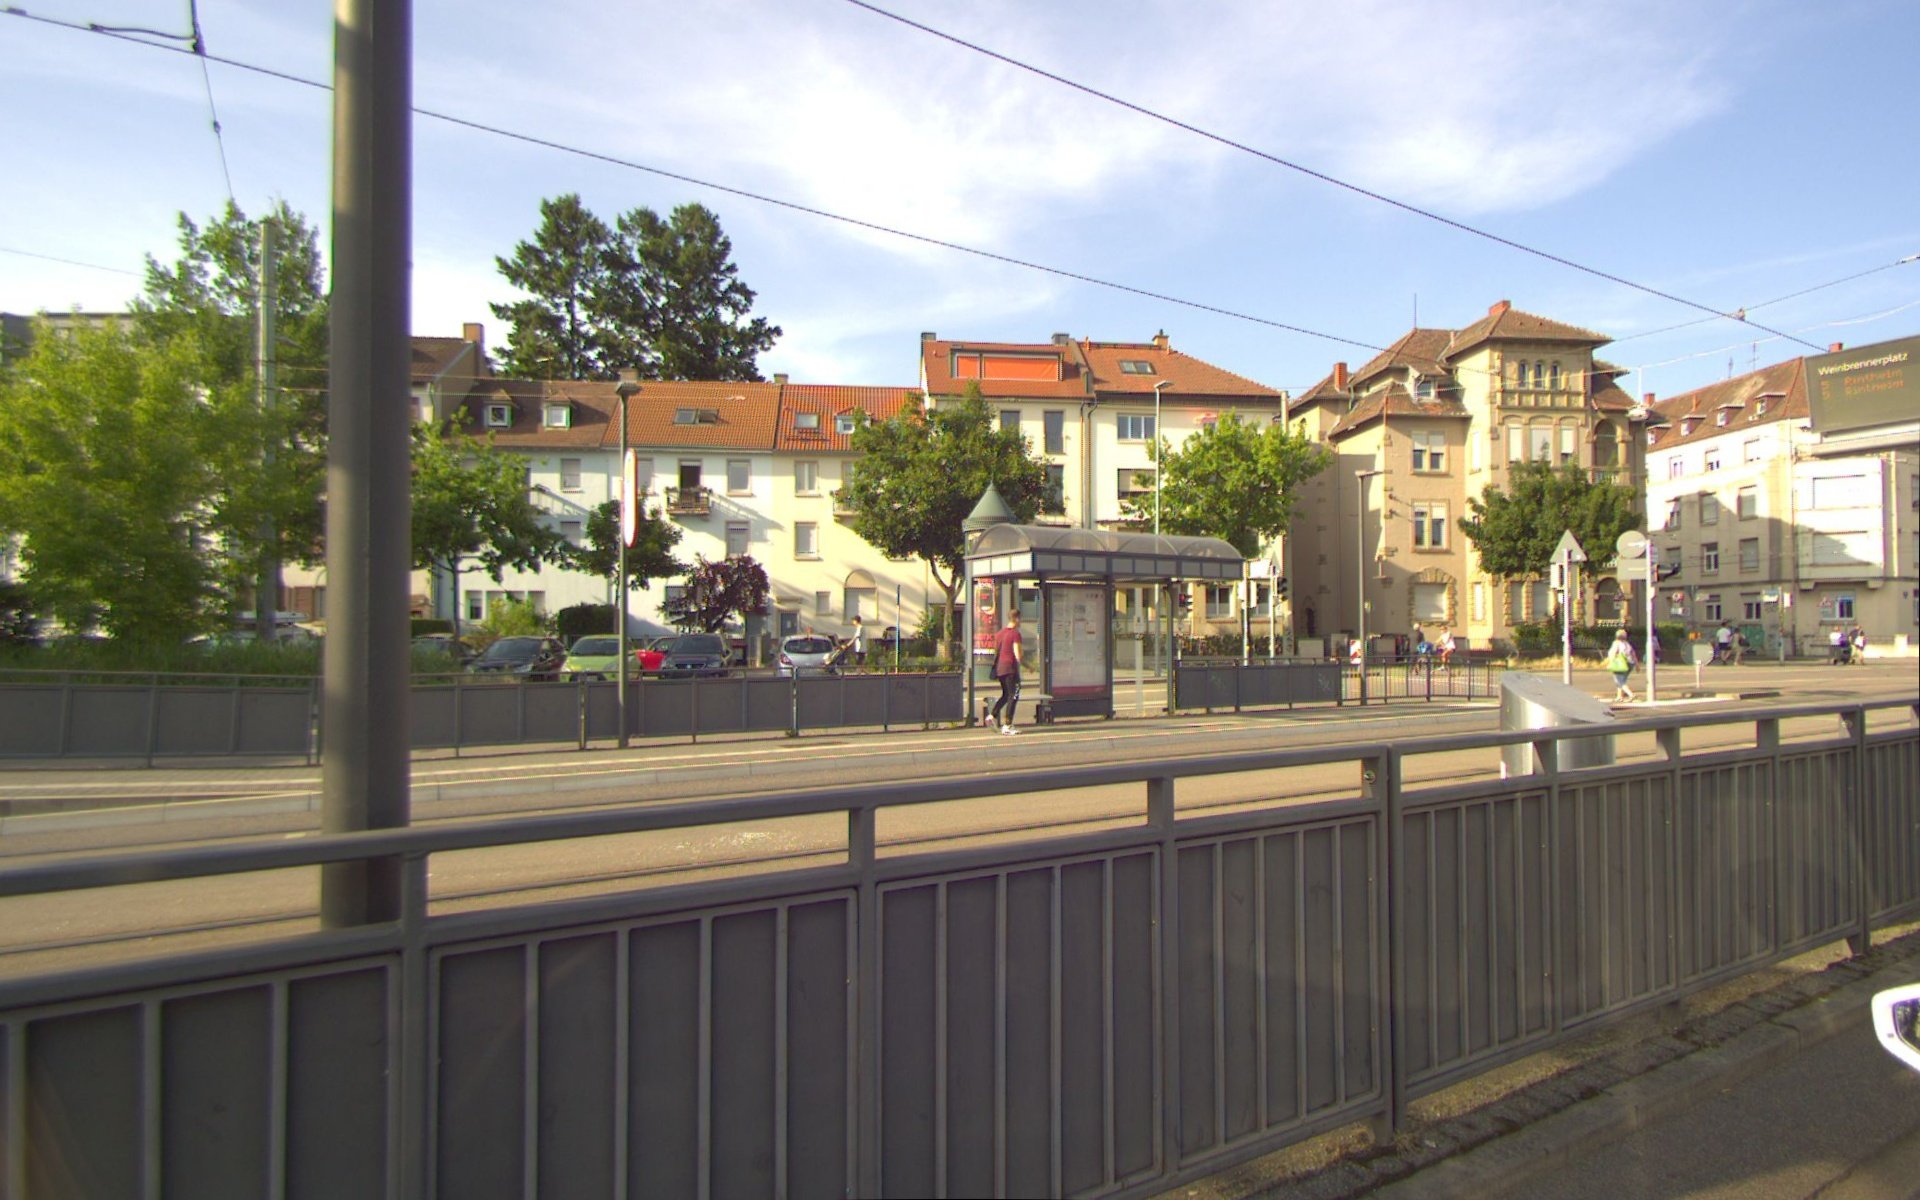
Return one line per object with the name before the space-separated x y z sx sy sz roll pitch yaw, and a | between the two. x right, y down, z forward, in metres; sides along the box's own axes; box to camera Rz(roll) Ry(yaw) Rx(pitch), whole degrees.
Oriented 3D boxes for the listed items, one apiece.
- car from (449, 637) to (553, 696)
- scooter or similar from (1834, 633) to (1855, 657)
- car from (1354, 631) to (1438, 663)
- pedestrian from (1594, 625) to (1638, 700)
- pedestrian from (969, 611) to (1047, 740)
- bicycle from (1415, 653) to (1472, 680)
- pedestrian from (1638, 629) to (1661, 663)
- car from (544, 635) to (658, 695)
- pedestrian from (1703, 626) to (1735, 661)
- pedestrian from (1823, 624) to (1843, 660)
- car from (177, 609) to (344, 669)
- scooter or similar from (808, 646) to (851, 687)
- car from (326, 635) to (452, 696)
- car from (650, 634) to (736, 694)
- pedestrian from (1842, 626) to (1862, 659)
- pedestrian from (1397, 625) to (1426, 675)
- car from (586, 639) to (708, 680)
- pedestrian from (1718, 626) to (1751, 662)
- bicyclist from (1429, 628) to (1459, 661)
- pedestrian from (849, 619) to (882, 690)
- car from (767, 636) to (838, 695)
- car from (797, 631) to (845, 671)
car | -11.880 1.677 26.253 1.968 1.416 3.985 0 -2 -18
scooter or similar | 41.372 2.120 46.988 0.675 1.093 0.541 2 0 -30
car | 20.373 2.174 47.126 1.732 1.327 4.111 2 0 -7
pedestrian | 14.495 1.374 22.196 0.627 1.620 0.608 1 -2 -36
pedestrian | 0.660 1.035 13.846 0.867 1.706 0.551 1 -5 -30
bicycle | 15.652 2.158 32.539 1.656 0.845 0.527 0 -2 -10
pedestrian | 31.314 2.084 45.623 0.702 1.561 0.626 1 -2 -30
car | -9.623 1.713 27.264 1.813 1.505 3.999 0 -2 -3
pedestrian | 34.192 1.950 45.276 0.768 1.572 0.831 0 -2 -8
pedestrian | 40.722 1.958 46.847 0.601 1.647 0.506 1 -2 -29
car | -18.654 1.049 27.034 1.813 1.505 3.999 0 -2 -3
scooter or similar | -3.234 1.640 24.939 1.006 1.001 0.556 0 -2 -15
car | -14.401 1.601 25.593 1.968 1.416 3.985 0 -2 -18
car | -7.140 1.684 27.221 1.815 1.505 3.995 0 -2 -9
pedestrian | 40.966 1.951 46.135 0.540 1.520 0.437 0 -2 -15
pedestrian | 15.384 1.706 34.230 0.778 1.667 0.757 -1 -2 16
car | -11.223 2.123 36.246 3.927 1.416 1.836 0 -2 -9
pedestrian | 34.223 1.931 44.372 0.768 1.572 0.831 0 -2 -8
bicyclist | 15.687 1.450 32.557 0.667 1.058 0.513 0 -2 -11
pedestrian | -2.373 1.359 25.159 0.750 1.769 0.547 0 -2 -15
car | -4.346 1.766 27.823 1.815 1.505 3.995 0 -2 -9
car | -6.055 2.199 44.206 1.962 1.684 3.997 0 -2 -6
